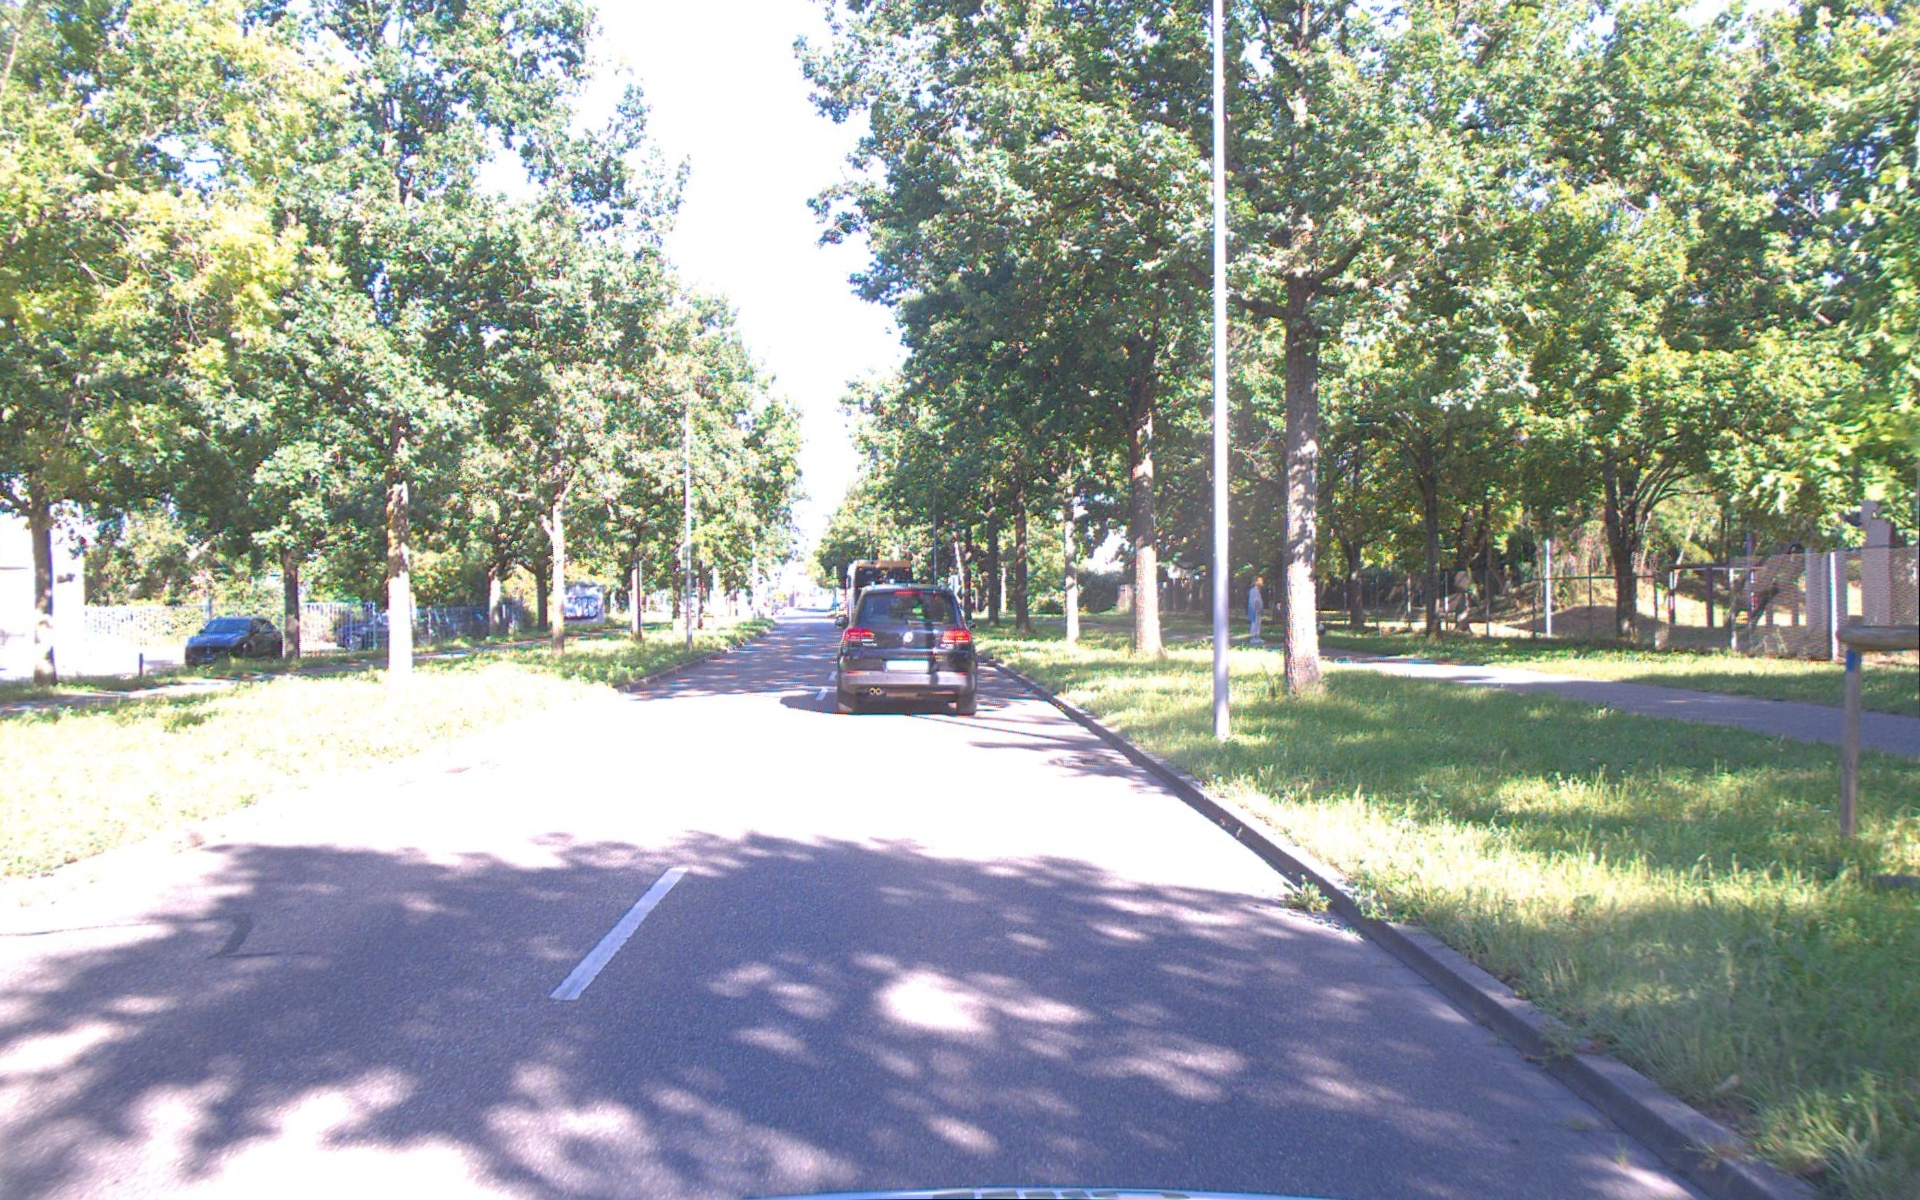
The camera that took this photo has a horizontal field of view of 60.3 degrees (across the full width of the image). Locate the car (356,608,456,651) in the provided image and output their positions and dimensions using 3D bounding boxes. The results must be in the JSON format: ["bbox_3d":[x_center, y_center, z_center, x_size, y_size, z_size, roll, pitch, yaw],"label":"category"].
[{"bbox_3d":[-24.527,1.318,73.382,3.915,1.833,1.995,1,0,-11],"label":"car"}]

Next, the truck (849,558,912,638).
[{"bbox_3d":[-3.589,-0.088,73.431,2.463,3.300,8.144,-1,0,-5],"label":"truck"}]

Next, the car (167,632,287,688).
[{"bbox_3d":[-23.991,1.932,54.332,1.954,1.625,5.011,1,0,-4],"label":"car"}]

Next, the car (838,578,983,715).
[{"bbox_3d":[-0.759,0.580,22.374,1.747,1.662,3.996,1,0,-5],"label":"car"}]

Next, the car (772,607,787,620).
[{"bbox_3d":[-22.599,1.660,207.395,1.534,1.531,3.998,1,0,-3],"label":"car"}]

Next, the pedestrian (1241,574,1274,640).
[{"bbox_3d":[7.698,0.168,42.776,0.701,1.659,0.610,-3,0,14],"label":"pedestrian"}]
